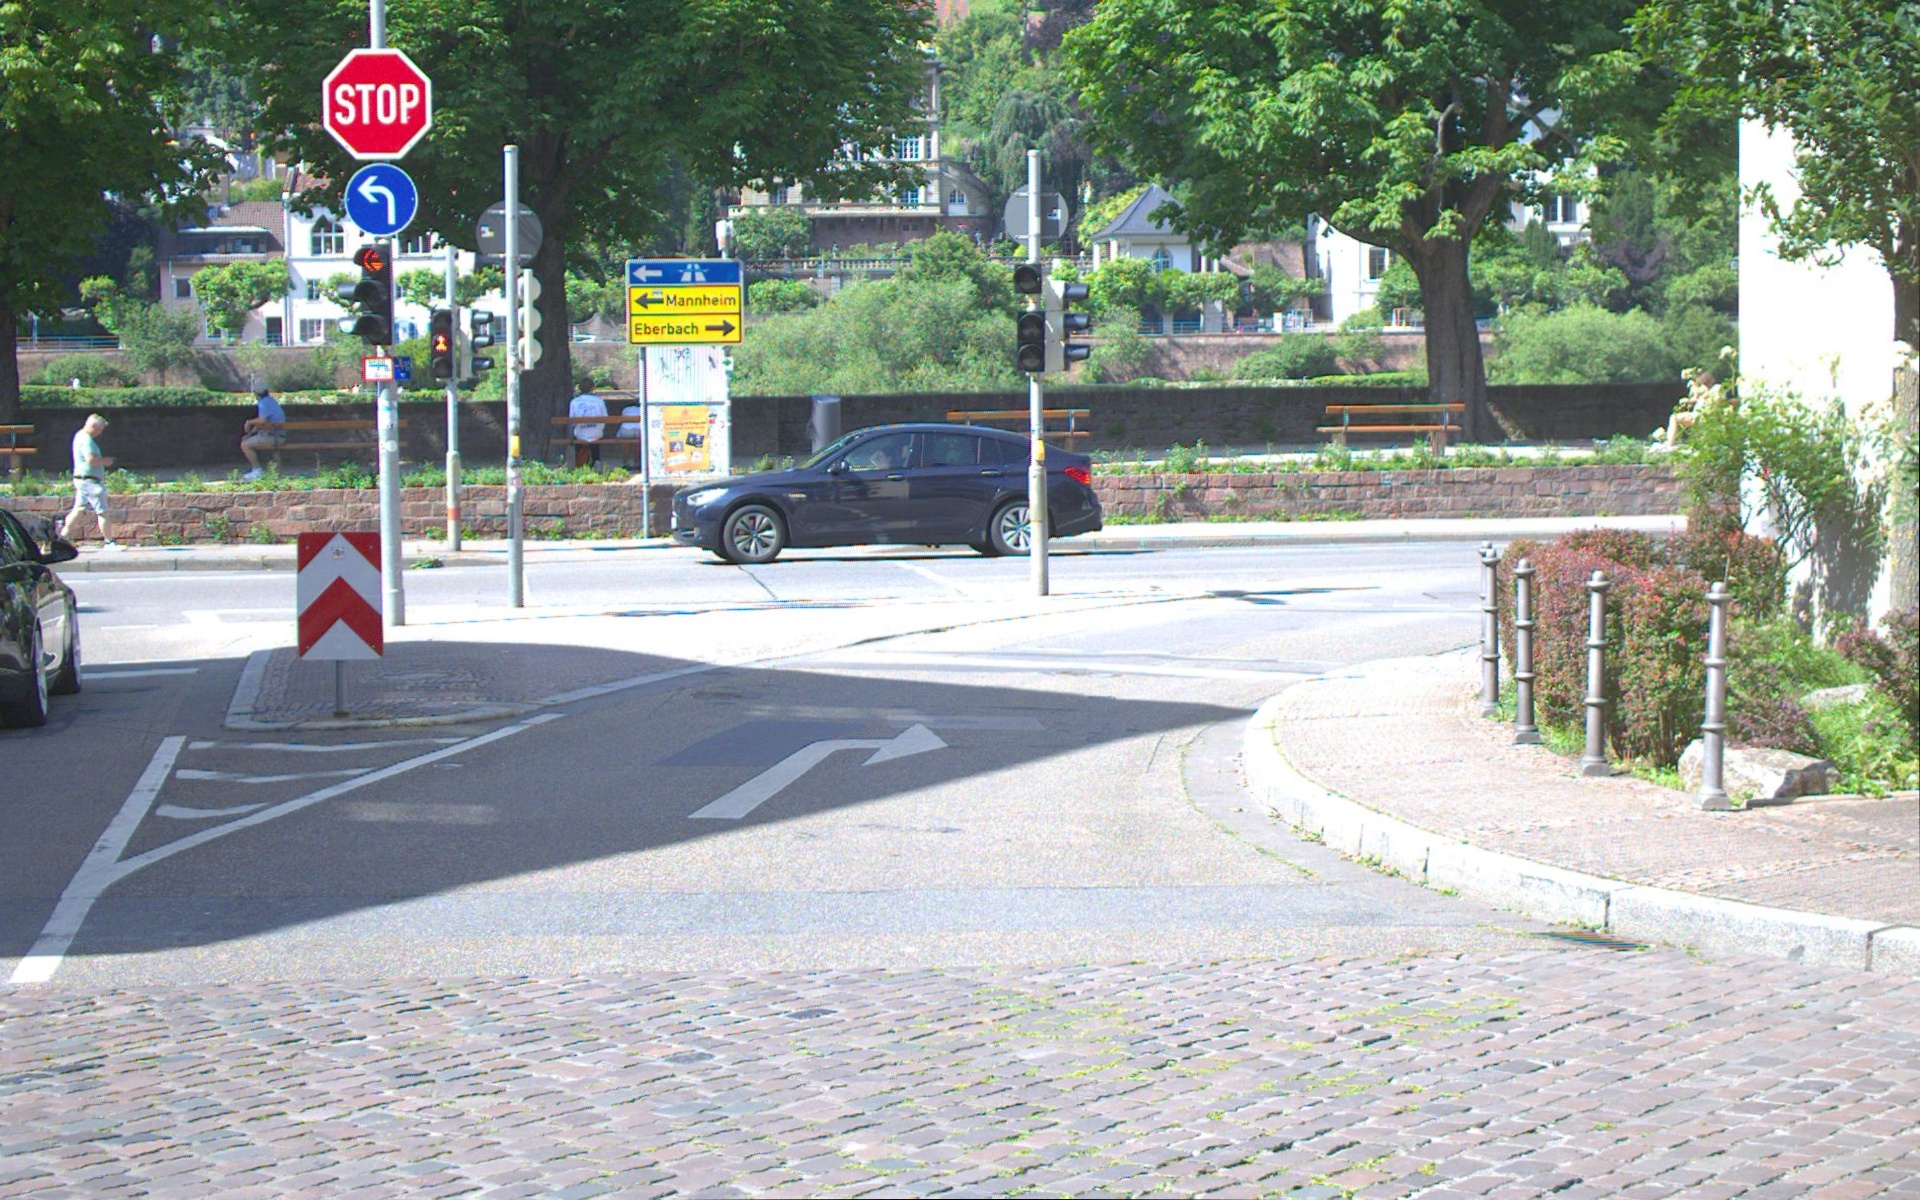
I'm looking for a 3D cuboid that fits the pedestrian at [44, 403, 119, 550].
[{"bbox_3d":[-10.725,-1.510,41.995,0.688,1.763,0.717,-2,2,-3],"label":"pedestrian"}]

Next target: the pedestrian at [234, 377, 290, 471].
[{"bbox_3d":[-9.300,-2.344,45.792,0.641,1.224,0.414,-2,2,-21],"label":"pedestrian"}]

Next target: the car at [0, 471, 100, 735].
[{"bbox_3d":[-6.658,-0.028,22.184,1.714,1.457,4.726,-3,3,-10],"label":"car"}]

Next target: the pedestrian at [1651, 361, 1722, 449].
[{"bbox_3d":[10.416,-2.790,49.296,0.797,1.207,0.715,1,0,-6],"label":"pedestrian"}]

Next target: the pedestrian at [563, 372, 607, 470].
[{"bbox_3d":[-5.065,-2.413,46.431,0.553,1.275,0.704,1,0,-7],"label":"pedestrian"}]

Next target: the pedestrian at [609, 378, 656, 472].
[{"bbox_3d":[-4.478,-2.383,46.995,0.553,1.224,0.986,1,0,-9],"label":"pedestrian"}]

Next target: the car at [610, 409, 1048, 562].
[{"bbox_3d":[-1.546,-1.328,39.648,4.762,1.512,1.907,-3,2,-10],"label":"car"}]
